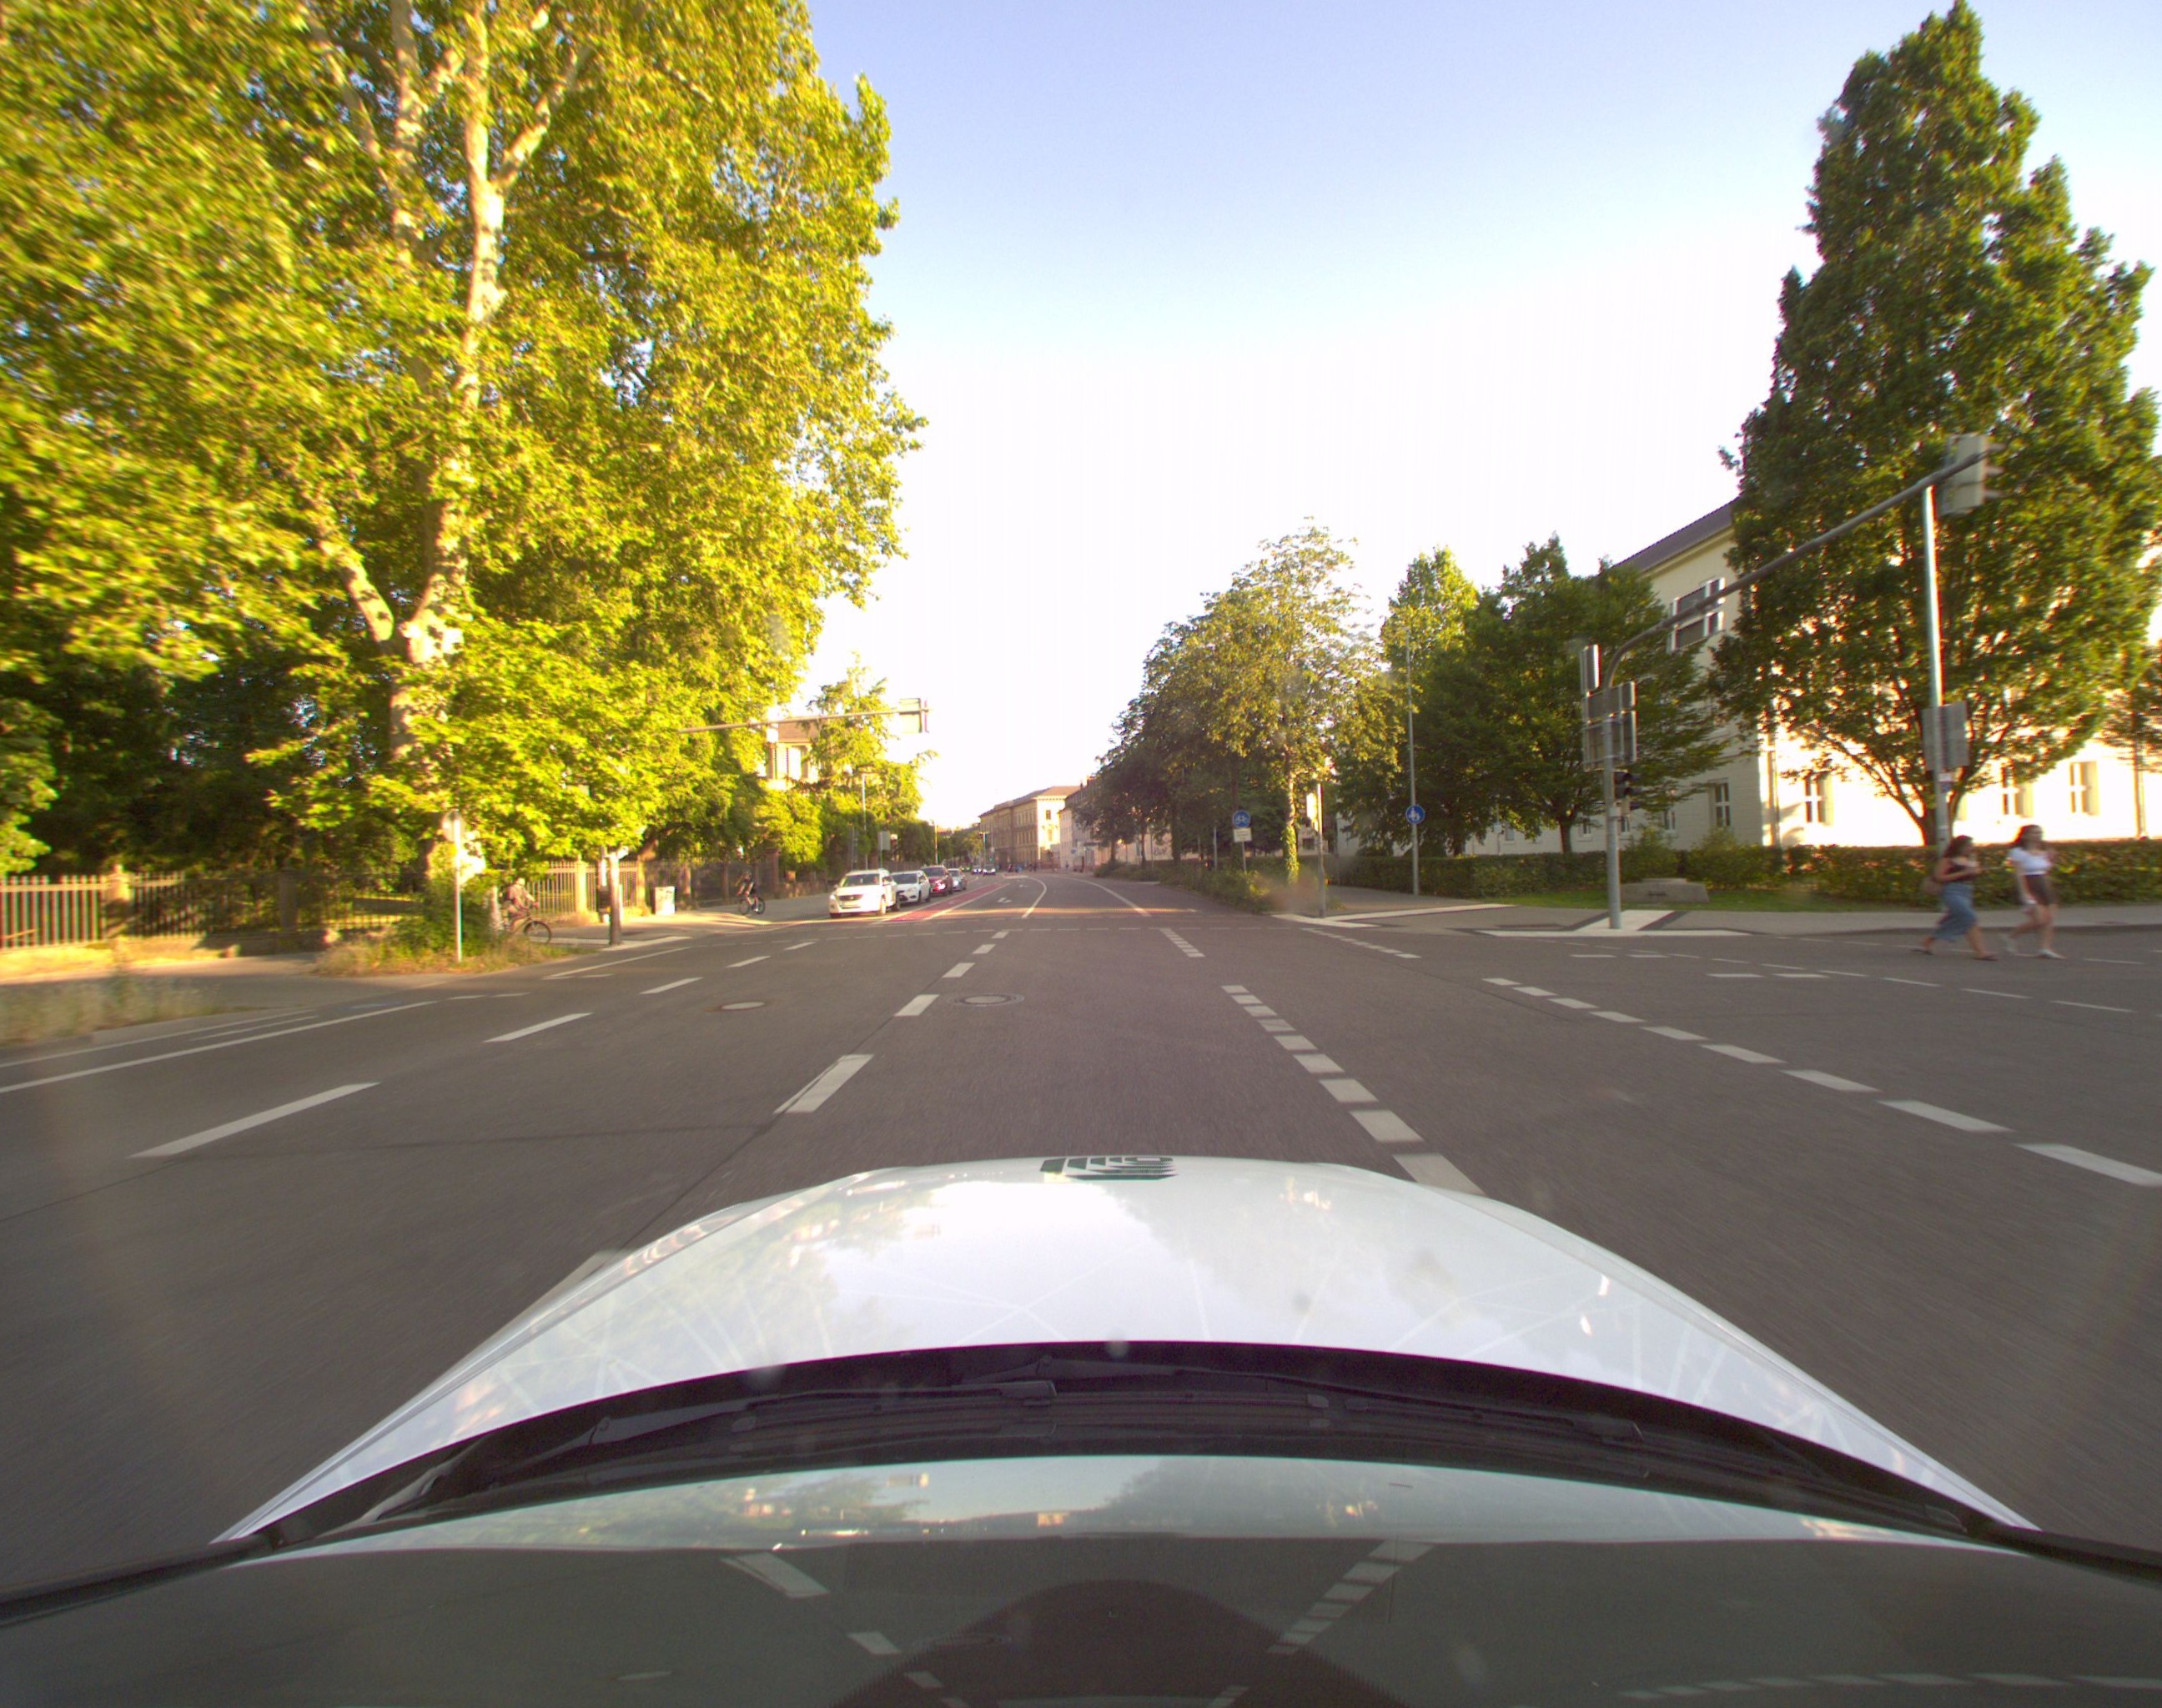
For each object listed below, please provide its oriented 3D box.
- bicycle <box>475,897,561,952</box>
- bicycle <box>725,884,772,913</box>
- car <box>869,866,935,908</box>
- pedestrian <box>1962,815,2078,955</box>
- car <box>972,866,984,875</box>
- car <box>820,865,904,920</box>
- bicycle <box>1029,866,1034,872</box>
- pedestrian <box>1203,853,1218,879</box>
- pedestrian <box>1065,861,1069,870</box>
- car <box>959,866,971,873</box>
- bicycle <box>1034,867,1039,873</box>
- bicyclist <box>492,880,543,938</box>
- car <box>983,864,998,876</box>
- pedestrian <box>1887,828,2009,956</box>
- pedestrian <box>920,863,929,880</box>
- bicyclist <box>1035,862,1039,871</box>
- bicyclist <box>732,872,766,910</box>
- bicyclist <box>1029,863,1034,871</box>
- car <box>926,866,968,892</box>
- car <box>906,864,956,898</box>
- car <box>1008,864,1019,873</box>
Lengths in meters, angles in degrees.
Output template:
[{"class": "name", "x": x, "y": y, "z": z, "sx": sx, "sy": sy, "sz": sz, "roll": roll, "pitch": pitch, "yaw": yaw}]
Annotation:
[{"class": "bicycle", "x": -13.933, "y": 1.727, "z": 20.168, "sx": 1.627, "sy": 1.229, "sz": 0.571, "roll": -2, "pitch": -1, "yaw": -10}, {"class": "bicycle", "x": -13.017, "y": 1.733, "z": 31.965, "sx": 0.852, "sy": 1.015, "sz": 2.199, "roll": -2, "pitch": -1, "yaw": 2}, {"class": "car", "x": -7.783, "y": 1.398, "z": 35.858, "sx": 1.911, "sy": 1.583, "sz": 4.670, "roll": -4, "pitch": 0, "yaw": -2}, {"class": "pedestrian", "x": 12.323, "y": 0.393, "z": 10.709, "sx": 0.678, "sy": 1.754, "sz": 0.689, "roll": -2, "pitch": 0, "yaw": 1}, {"class": "car", "x": -18.272, "y": 2.842, "z": 144.067, "sx": 1.836, "sy": 1.439, "sz": 3.984, "roll": -4, "pitch": 0, "yaw": -11}, {"class": "car", "x": -7.889, "y": 1.342, "z": 29.780, "sx": 1.912, "sy": 1.695, "sz": 4.422, "roll": -4, "pitch": 0, "yaw": -2}, {"class": "bicycle", "x": -8.456, "y": 2.553, "z": 139.051, "sx": 0.651, "sy": 1.015, "sz": 2.193, "roll": 0, "pitch": -1, "yaw": -6}, {"class": "pedestrian", "x": 8.754, "y": 0.813, "z": 55.084, "sx": 0.769, "sy": 1.739, "sz": 0.805, "roll": -2, "pitch": -1, "yaw": -8}, {"class": "pedestrian", "x": -2.526, "y": 2.127, "z": 149.000, "sx": 0.760, "sy": 1.755, "sz": 0.844, "roll": -2, "pitch": -1, "yaw": -1}, {"class": "car", "x": -27.165, "y": 3.614, "z": 190.792, "sx": 2.000, "sy": 1.585, "sz": 3.974, "roll": -1, "pitch": -1, "yaw": -19}, {"class": "bicycle", "x": -7.591, "y": 2.655, "z": 139.145, "sx": 0.651, "sy": 1.015, "sz": 2.193, "roll": 0, "pitch": -1, "yaw": -6}, {"class": "bicyclist", "x": -13.953, "y": 1.354, "z": 20.192, "sx": 0.836, "sy": 1.361, "sz": 0.571, "roll": -2, "pitch": -1, "yaw": -10}, {"class": "car", "x": -13.022, "y": 2.261, "z": 117.356, "sx": 1.849, "sy": 1.526, "sz": 3.986, "roll": -3, "pitch": 0, "yaw": -10}, {"class": "pedestrian", "x": 11.564, "y": 0.487, "z": 10.892, "sx": 0.678, "sy": 1.622, "sz": 0.845, "roll": -2, "pitch": 0, "yaw": 1}, {"class": "pedestrian", "x": -15.059, "y": 1.644, "z": 78.288, "sx": 0.678, "sy": 1.622, "sz": 0.689, "roll": -2, "pitch": -1, "yaw": 1}, {"class": "bicyclist", "x": -7.585, "y": 2.169, "z": 139.153, "sx": 0.651, "sy": 1.475, "sz": 0.938, "roll": 0, "pitch": -1, "yaw": -7}, {"class": "bicyclist", "x": -13.042, "y": 1.442, "z": 32.004, "sx": 0.852, "sy": 1.431, "sz": 0.944, "roll": -2, "pitch": -1, "yaw": 2}, {"class": "bicyclist", "x": -8.447, "y": 2.181, "z": 139.026, "sx": 0.651, "sy": 1.446, "sz": 0.877, "roll": 0, "pitch": -1, "yaw": -7}, {"class": "car", "x": -8.352, "y": 1.539, "z": 51.226, "sx": 1.911, "sy": 1.418, "sz": 4.766, "roll": -4, "pitch": 0, "yaw": -2}, {"class": "car", "x": -8.100, "y": 1.438, "z": 44.393, "sx": 1.911, "sy": 1.624, "sz": 4.635, "roll": -4, "pitch": 0, "yaw": -2}, {"class": "car", "x": -11.993, "y": 2.567, "z": 144.584, "sx": 1.864, "sy": 1.510, "sz": 3.993, "roll": -1, "pitch": -1, "yaw": -5}]
